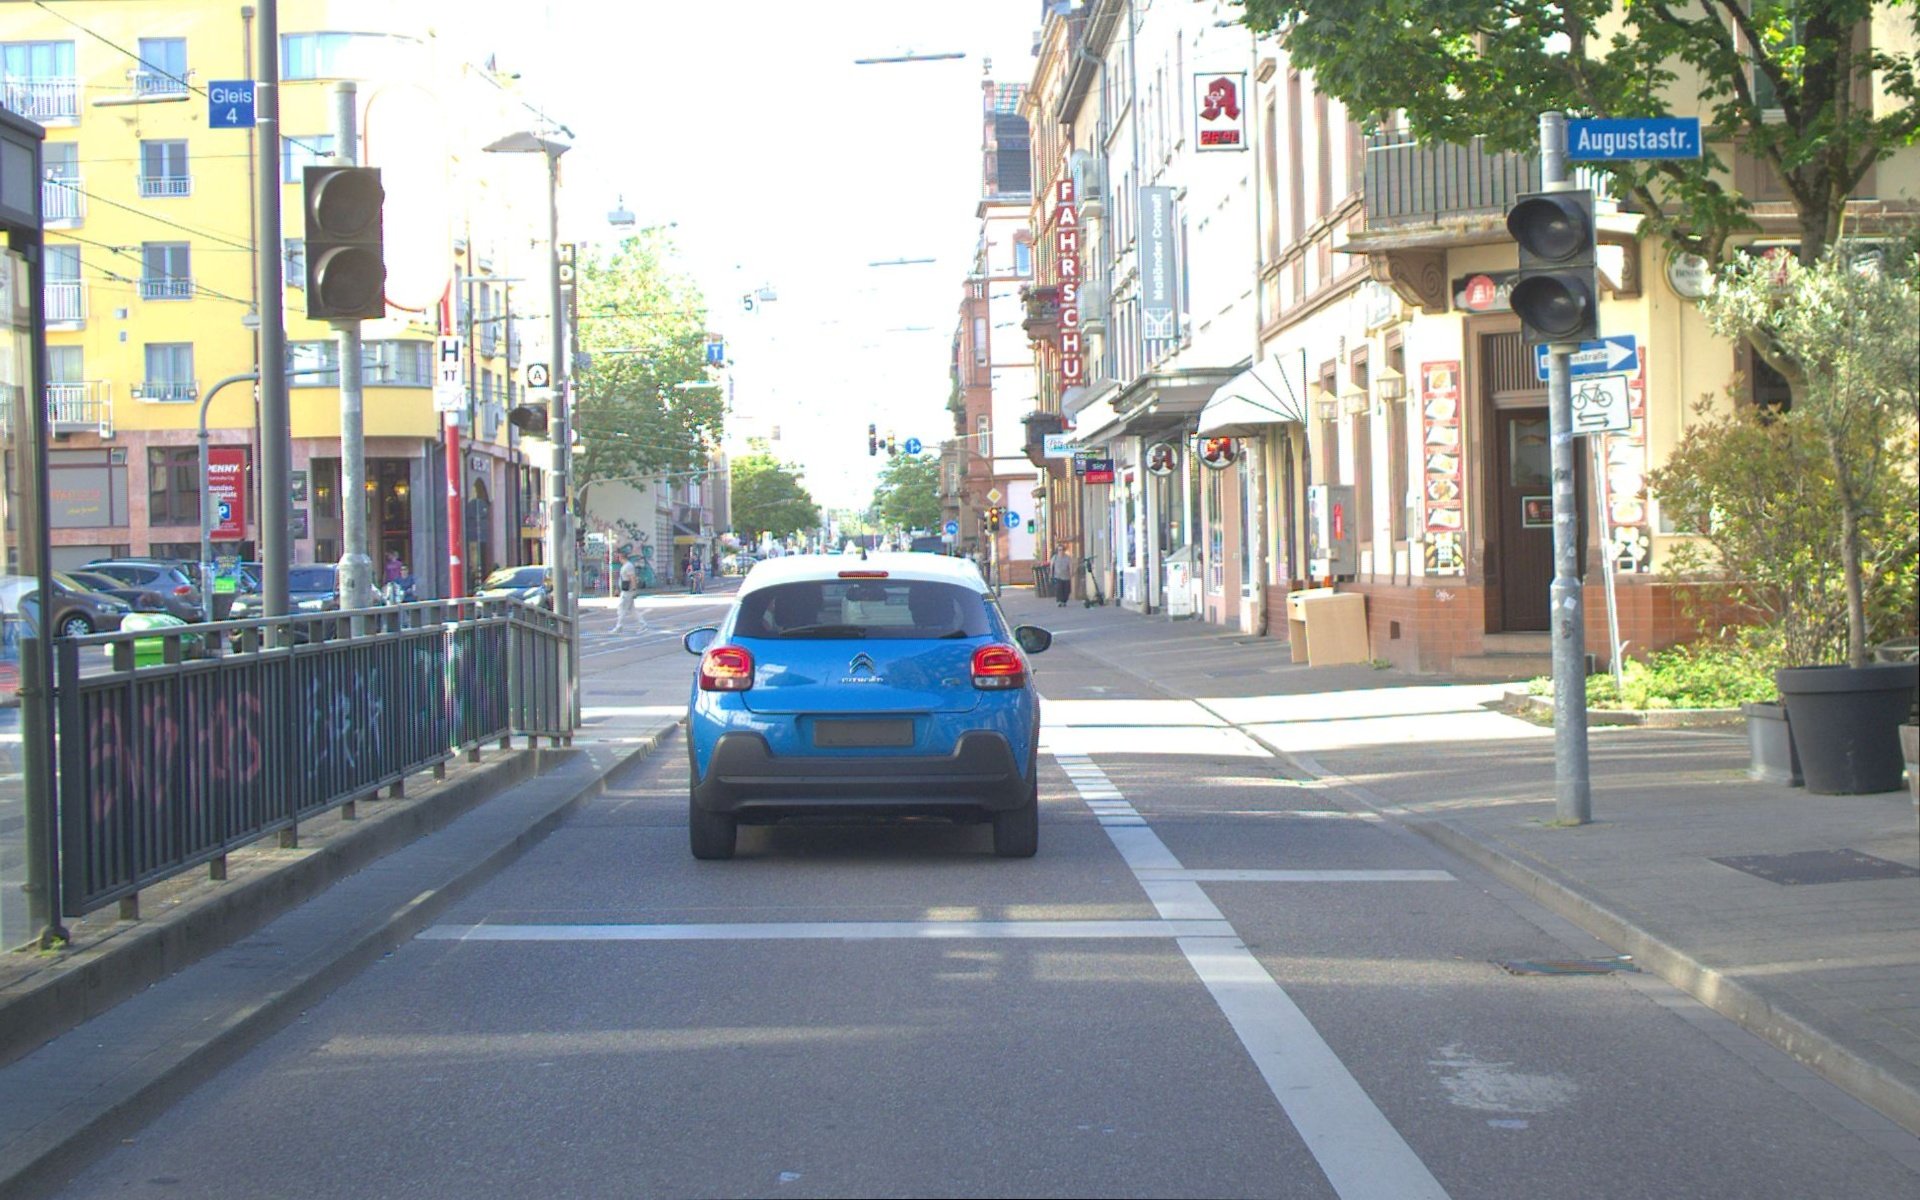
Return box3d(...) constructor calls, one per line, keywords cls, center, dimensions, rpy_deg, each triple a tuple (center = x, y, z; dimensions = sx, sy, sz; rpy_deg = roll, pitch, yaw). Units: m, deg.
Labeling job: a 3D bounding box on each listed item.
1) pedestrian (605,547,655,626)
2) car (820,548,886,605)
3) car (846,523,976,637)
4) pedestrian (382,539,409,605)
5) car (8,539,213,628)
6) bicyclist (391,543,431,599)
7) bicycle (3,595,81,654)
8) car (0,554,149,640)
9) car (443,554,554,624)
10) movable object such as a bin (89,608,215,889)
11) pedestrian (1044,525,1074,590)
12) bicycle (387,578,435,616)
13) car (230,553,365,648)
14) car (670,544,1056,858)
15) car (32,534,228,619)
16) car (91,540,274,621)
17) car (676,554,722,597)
box3d(cls="pedestrian", center=(-6.971, -0.280, 72.647), dimensions=(0.838, 1.648, 0.697), rpy_deg=(-1, 1, -29))
box3d(cls="car", center=(-3.332, -0.724, 107.809), dimensions=(1.993, 1.737, 4.000), rpy_deg=(1, 0, -1))
box3d(cls="car", center=(-0.779, -0.303, 54.973), dimensions=(1.993, 1.737, 4.000), rpy_deg=(1, 0, -1))
box3d(cls="pedestrian", center=(-15.986, -0.803, 97.338), dimensions=(0.695, 1.851, 0.841), rpy_deg=(-1, 1, -13))
box3d(cls="car", center=(-18.306, -0.362, 74.201), dimensions=(3.986, 1.841, 1.958), rpy_deg=(-1, 1, -4))
box3d(cls="bicyclist", center=(-12.636, -0.673, 79.140), dimensions=(0.730, 1.287, 1.180), rpy_deg=(-1, 1, 0))
box3d(cls="bicycle", center=(-16.660, 0.435, 62.421), dimensions=(0.679, 0.999, 2.686), rpy_deg=(-1, 1, 0))
box3d(cls="car", center=(-18.505, -0.065, 69.180), dimensions=(3.986, 1.669, 1.958), rpy_deg=(-1, 1, -4))
box3d(cls="car", center=(-10.563, -0.279, 78.950), dimensions=(1.951, 1.481, 4.000), rpy_deg=(-2, 1, 0))
box3d(cls="movable object such as a bin", center=(-2.967, 0.538, 12.637), dimensions=(0.346, 1.004, 0.404), rpy_deg=(-1, 1, 0))
box3d(cls="pedestrian", center=(2.485, -1.072, 86.586), dimensions=(0.693, 1.645, 0.680), rpy_deg=(-1, 1, -2))
box3d(cls="bicycle", center=(-12.639, -0.068, 79.142), dimensions=(0.679, 0.824, 2.576), rpy_deg=(-1, 1, 0))
box3d(cls="car", center=(-12.211, -0.023, 63.603), dimensions=(1.752, 1.610, 4.828), rpy_deg=(-3, 1, -3))
box3d(cls="car", center=(-0.476, 0.445, 17.817), dimensions=(1.781, 1.446, 3.654), rpy_deg=(1, 1, -1))
box3d(cls="car", center=(-18.599, -0.540, 77.214), dimensions=(3.986, 1.841, 1.958), rpy_deg=(-1, 1, -4))
box3d(cls="car", center=(-18.460, -0.469, 81.756), dimensions=(3.986, 1.841, 1.958), rpy_deg=(-1, 1, -4))
box3d(cls="car", center=(-12.393, -1.147, 163.285), dimensions=(1.993, 2.007, 4.000), rpy_deg=(1, 0, -2))
